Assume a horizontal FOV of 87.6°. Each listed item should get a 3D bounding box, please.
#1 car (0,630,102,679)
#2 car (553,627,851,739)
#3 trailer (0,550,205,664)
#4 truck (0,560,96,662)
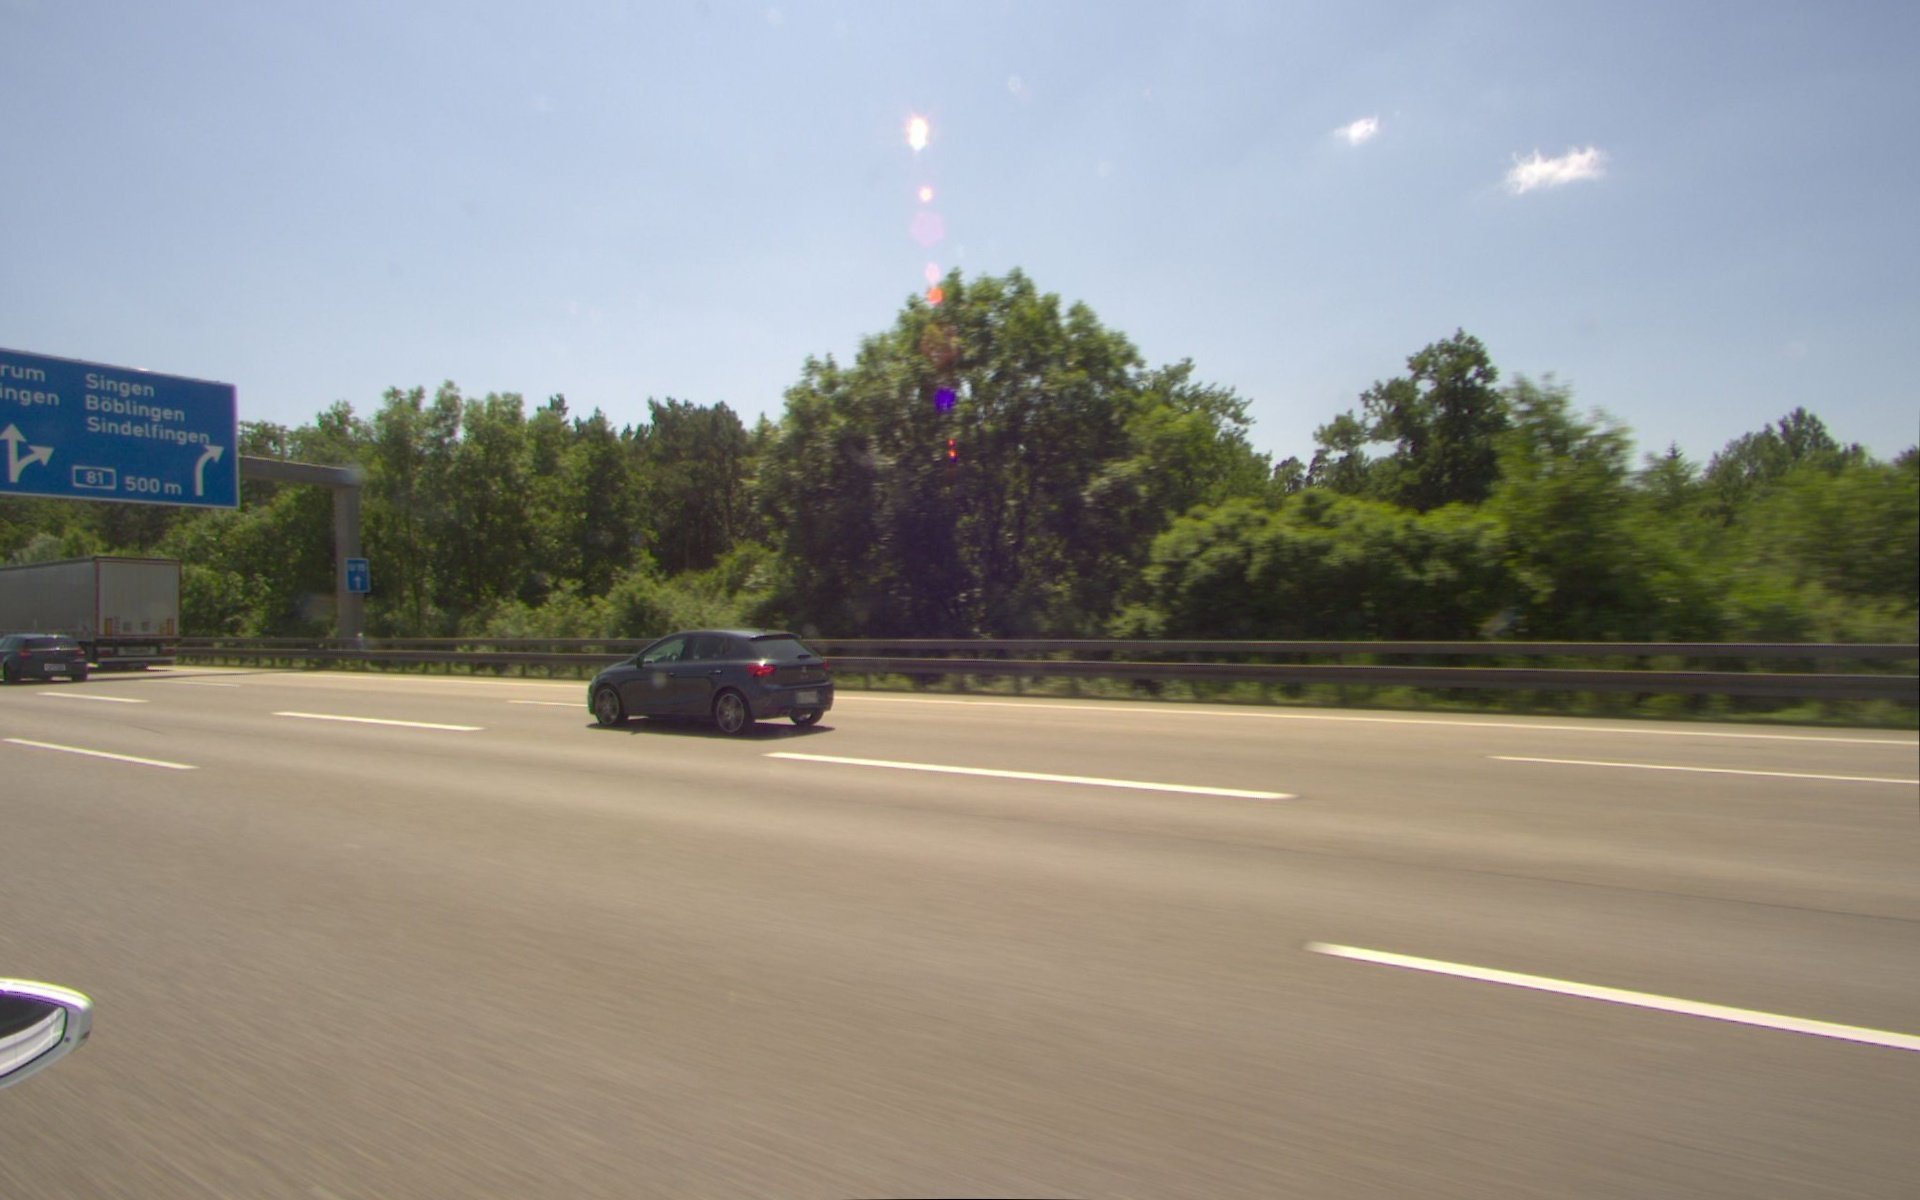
[{"bbox_3d":[-27.002,1.613,29.338,4.231,1.289,1.667,-4,-3,32],"label":"car"},{"bbox_3d":[-3.928,1.139,14.957,4.568,1.457,1.640,-1,-2,32],"label":"car"},{"bbox_3d":[-35.050,0.373,39.871,13.689,3.981,3.282,-1,-1,32],"label":"trailer"},{"bbox_3d":[-40.595,0.514,43.339,5.902,4.160,3.249,-1,-1,32],"label":"truck"}]
